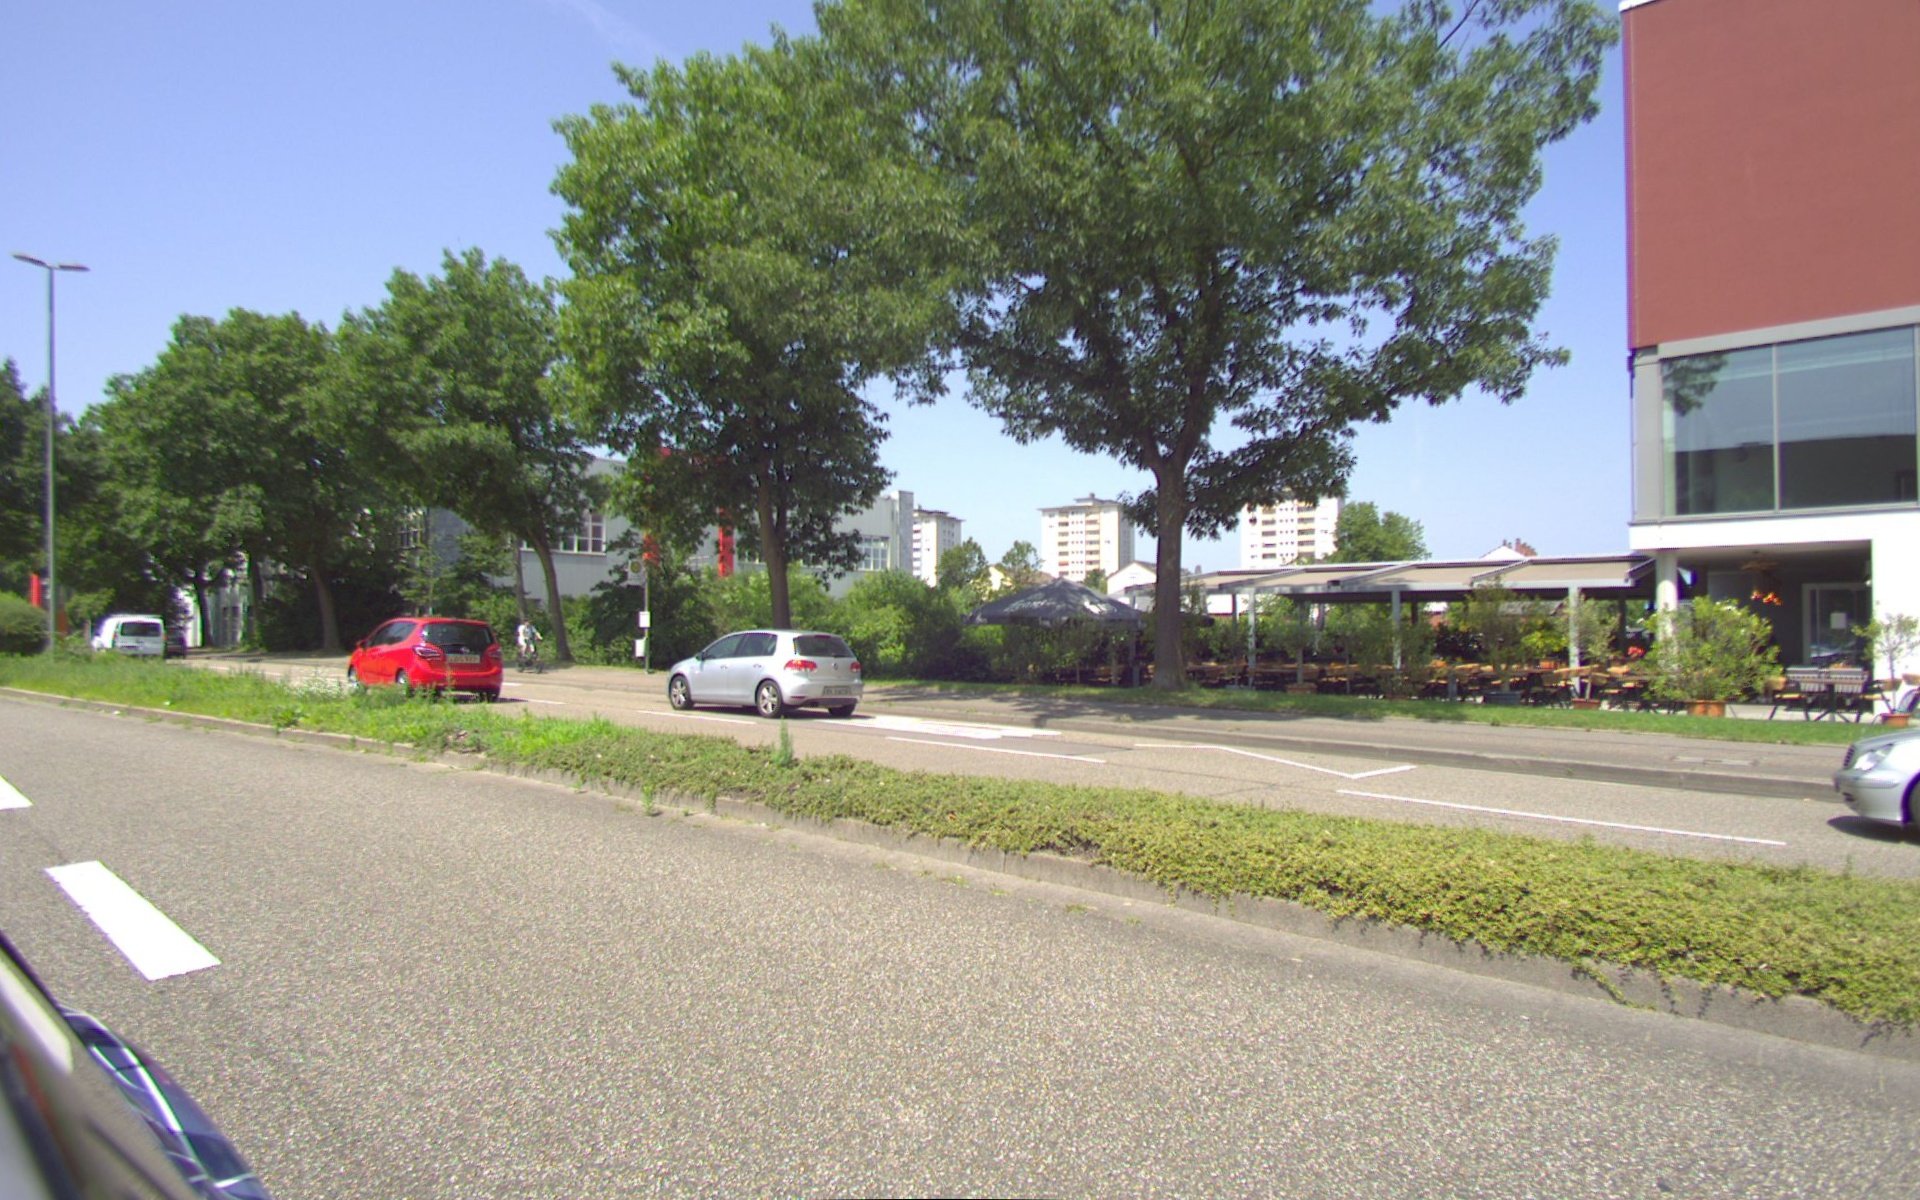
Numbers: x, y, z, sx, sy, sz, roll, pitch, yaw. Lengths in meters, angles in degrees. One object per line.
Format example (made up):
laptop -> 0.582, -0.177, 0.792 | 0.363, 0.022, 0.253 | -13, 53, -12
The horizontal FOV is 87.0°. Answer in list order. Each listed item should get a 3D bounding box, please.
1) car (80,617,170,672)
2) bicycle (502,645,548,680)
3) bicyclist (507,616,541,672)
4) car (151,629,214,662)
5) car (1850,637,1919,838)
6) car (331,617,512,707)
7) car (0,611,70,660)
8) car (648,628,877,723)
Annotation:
car -> -31.725, 1.692, 38.417 | 4.423, 1.920, 1.832 | -2, -5, 41
bicycle -> -13.067, 1.861, 30.388 | 1.660, 0.976, 0.610 | -1, -2, 42
bicyclist -> -13.144, 1.312, 30.492 | 0.923, 1.643, 0.601 | -2, -3, 42
car -> -39.591, 2.305, 51.490 | 4.211, 1.616, 1.698 | -2, -5, 41
car -> 8.762, 0.991, 6.603 | 4.357, 1.415, 1.759 | -2, -5, 41
car -> -10.614, 1.186, 19.817 | 4.151, 1.582, 1.730 | -2, -5, 41
car -> -51.420, 2.000, 56.148 | 6.055, 2.587, 2.241 | -2, -4, 41
car -> -3.522, 1.254, 17.656 | 4.131, 1.462, 1.730 | -2, -5, 41
